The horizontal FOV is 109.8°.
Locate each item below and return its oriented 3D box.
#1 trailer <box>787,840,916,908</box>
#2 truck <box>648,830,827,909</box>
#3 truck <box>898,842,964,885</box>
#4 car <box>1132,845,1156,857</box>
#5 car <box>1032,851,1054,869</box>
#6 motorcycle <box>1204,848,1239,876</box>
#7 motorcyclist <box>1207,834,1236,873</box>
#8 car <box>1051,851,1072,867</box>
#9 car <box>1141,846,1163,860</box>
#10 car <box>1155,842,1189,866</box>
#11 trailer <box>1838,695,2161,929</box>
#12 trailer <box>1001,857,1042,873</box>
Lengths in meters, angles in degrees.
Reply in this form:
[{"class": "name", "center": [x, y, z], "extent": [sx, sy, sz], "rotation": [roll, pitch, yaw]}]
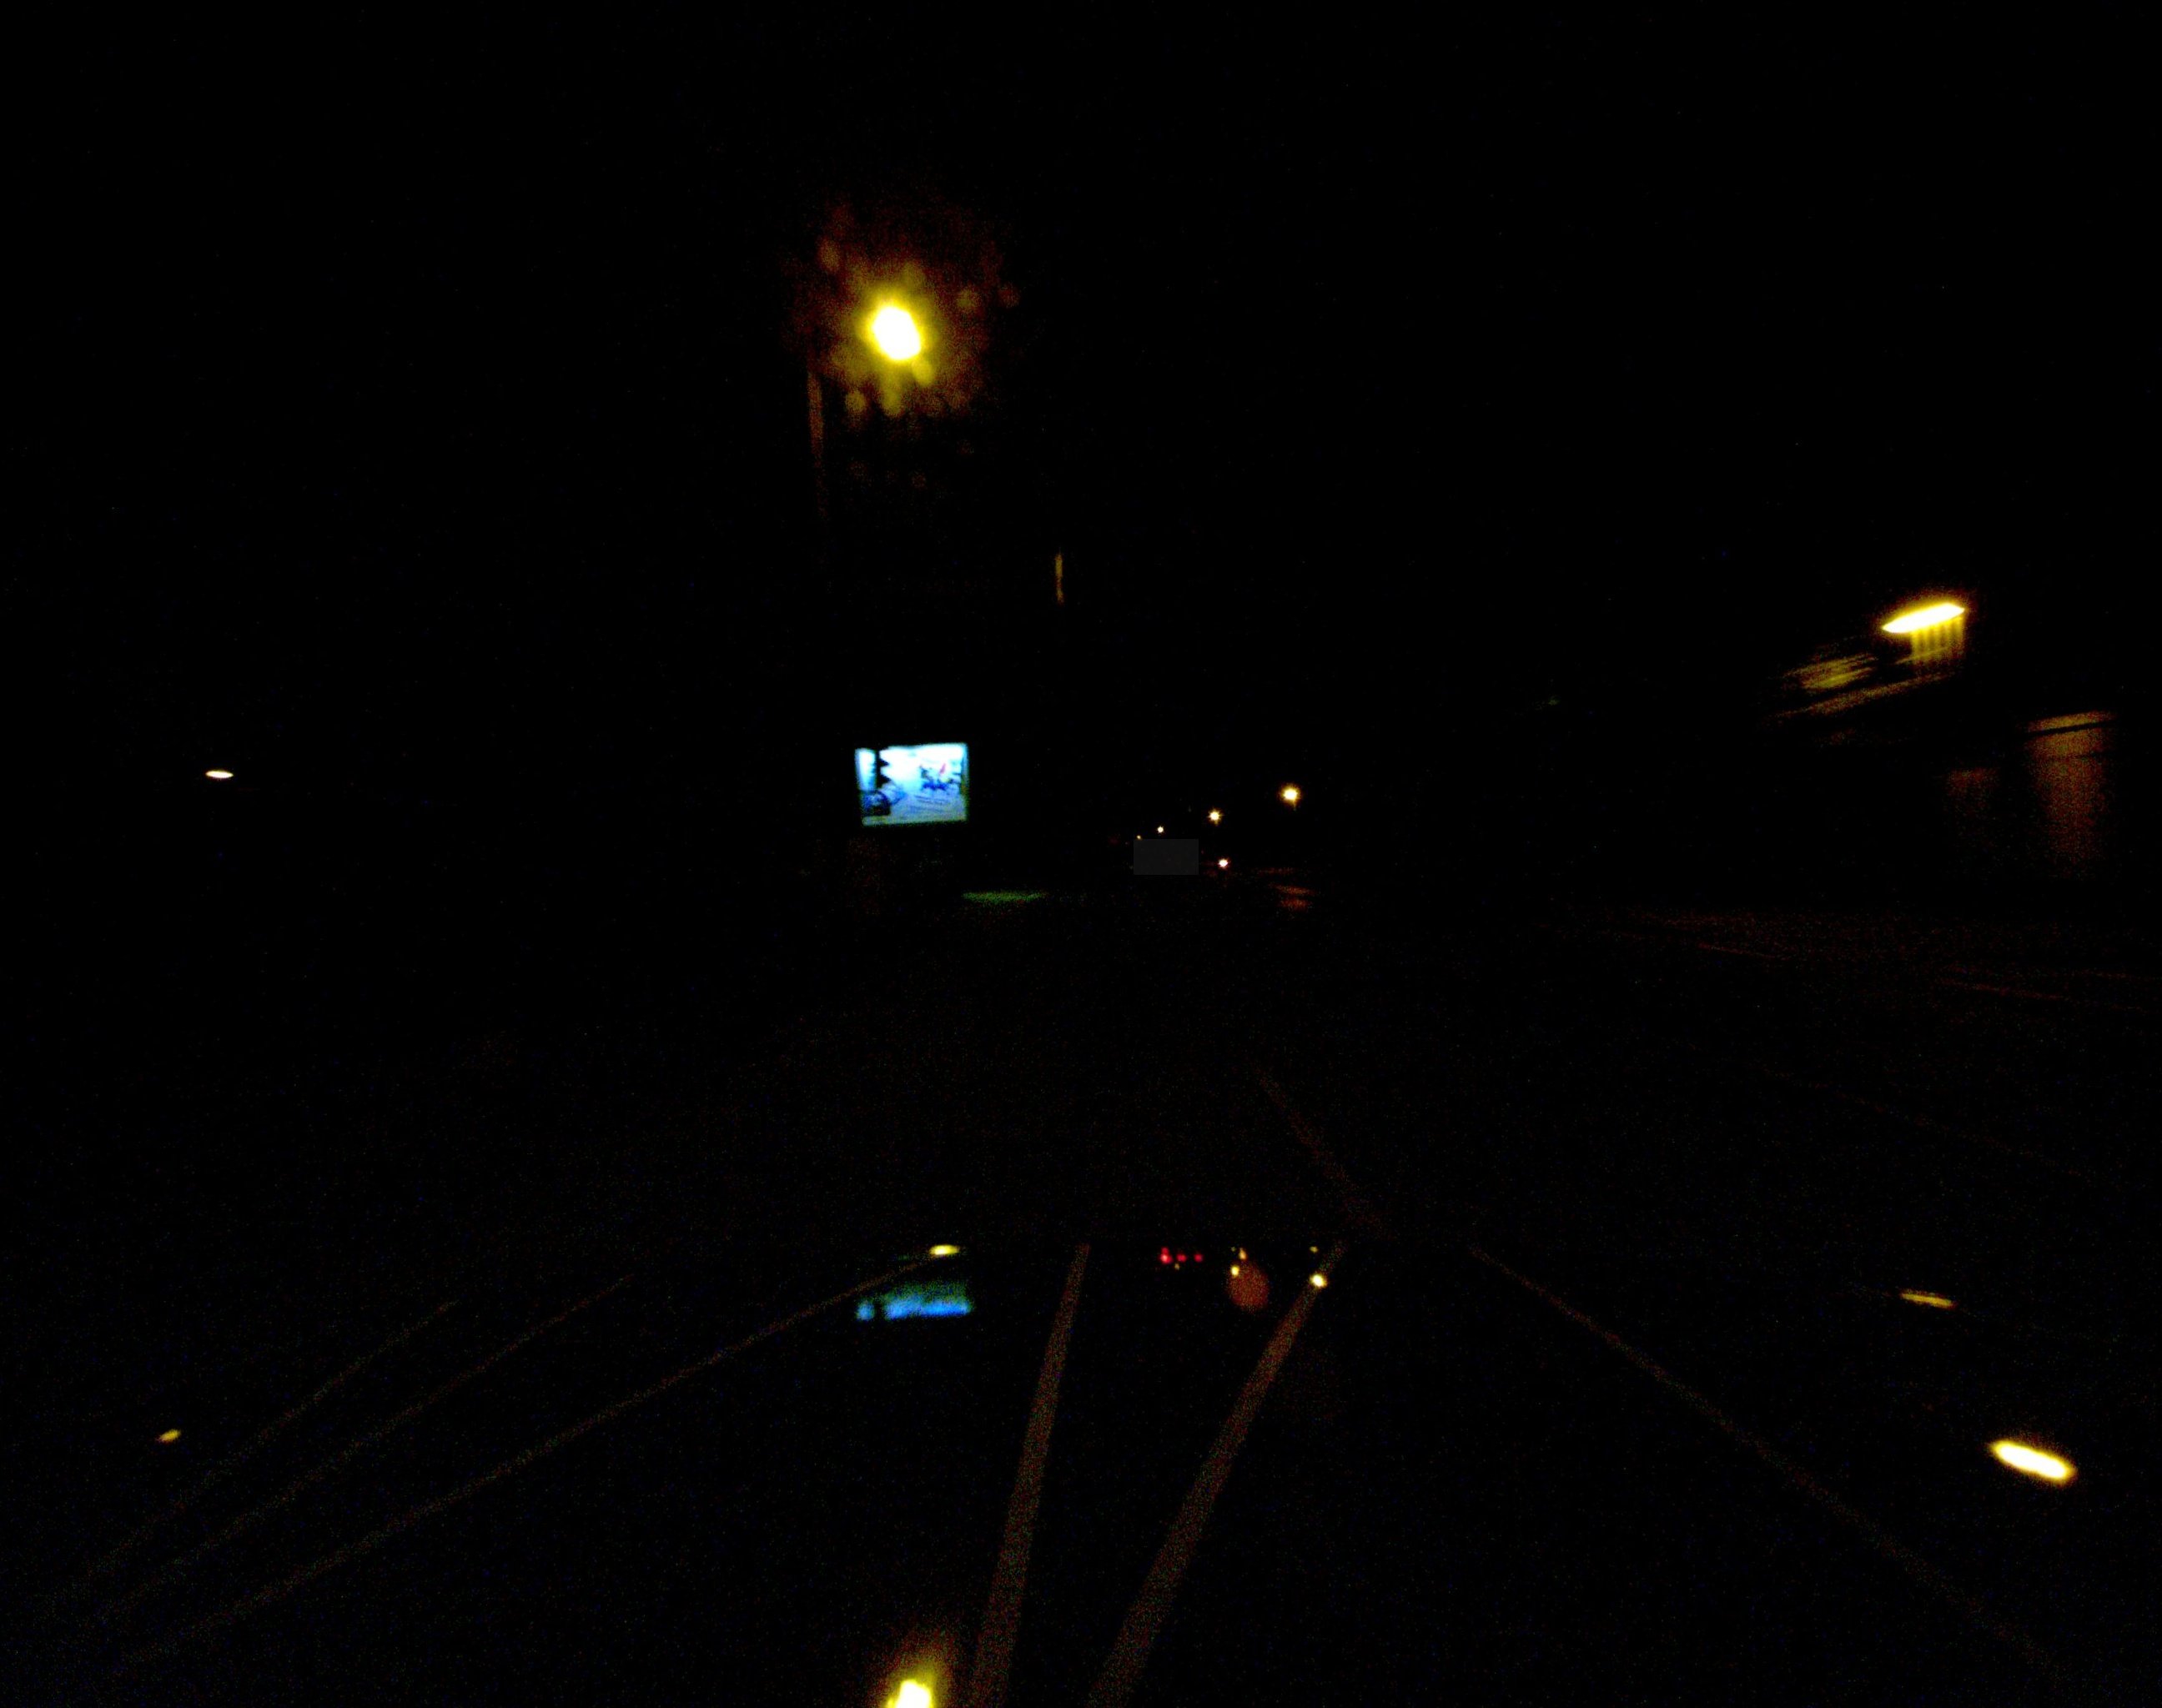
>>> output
[{"class": "trailer", "center": [-7.272, 0.636, 24.049], "extent": [3.750, 2.002, 1.617], "rotation": [-2, 0, 25]}, {"class": "truck", "center": [-12.889, 0.570, 28.847], "extent": [5.544, 2.585, 2.472], "rotation": [-3, 1, 0]}, {"class": "truck", "center": [-8.924, 0.480, 46.111], "extent": [2.383, 2.270, 7.743], "rotation": [-3, 1, 0]}, {"class": "car", "center": [7.843, -0.347, 94.947], "extent": [2.000, 1.371, 4.594], "rotation": [-3, 0, -8]}, {"class": "car", "center": [-3.636, 0.581, 72.108], "extent": [1.940, 1.543, 3.998], "rotation": [-3, 0, -4]}, {"class": "motorcycle", "center": [7.075, 0.368, 38.393], "extent": [1.000, 1.297, 2.825], "rotation": [-3, 1, -5]}, {"class": "motorcyclist", "center": [7.088, -0.031, 38.369], "extent": [1.137, 1.889, 0.833], "rotation": [-3, 1, -5]}, {"class": "car", "center": [-2.074, 0.532, 79.867], "extent": [1.999, 1.543, 4.325], "rotation": [-4, 0, -4]}, {"class": "car", "center": [8.262, -0.113, 89.284], "extent": [1.854, 1.436, 4.914], "rotation": [-3, 0, -3]}, {"class": "car", "center": [7.010, -0.027, 58.953], "extent": [1.998, 1.617, 4.752], "rotation": [-3, 1, 0]}, {"class": "trailer", "center": [13.104, -0.522, 9.935], "extent": [4.359, 2.704, 2.000], "rotation": [-2, 0, 0]}, {"class": "trailer", "center": [-4.876, 0.856, 63.467], "extent": [2.179, 0.961, 9.617], "rotation": [-4, 0, 3]}]
